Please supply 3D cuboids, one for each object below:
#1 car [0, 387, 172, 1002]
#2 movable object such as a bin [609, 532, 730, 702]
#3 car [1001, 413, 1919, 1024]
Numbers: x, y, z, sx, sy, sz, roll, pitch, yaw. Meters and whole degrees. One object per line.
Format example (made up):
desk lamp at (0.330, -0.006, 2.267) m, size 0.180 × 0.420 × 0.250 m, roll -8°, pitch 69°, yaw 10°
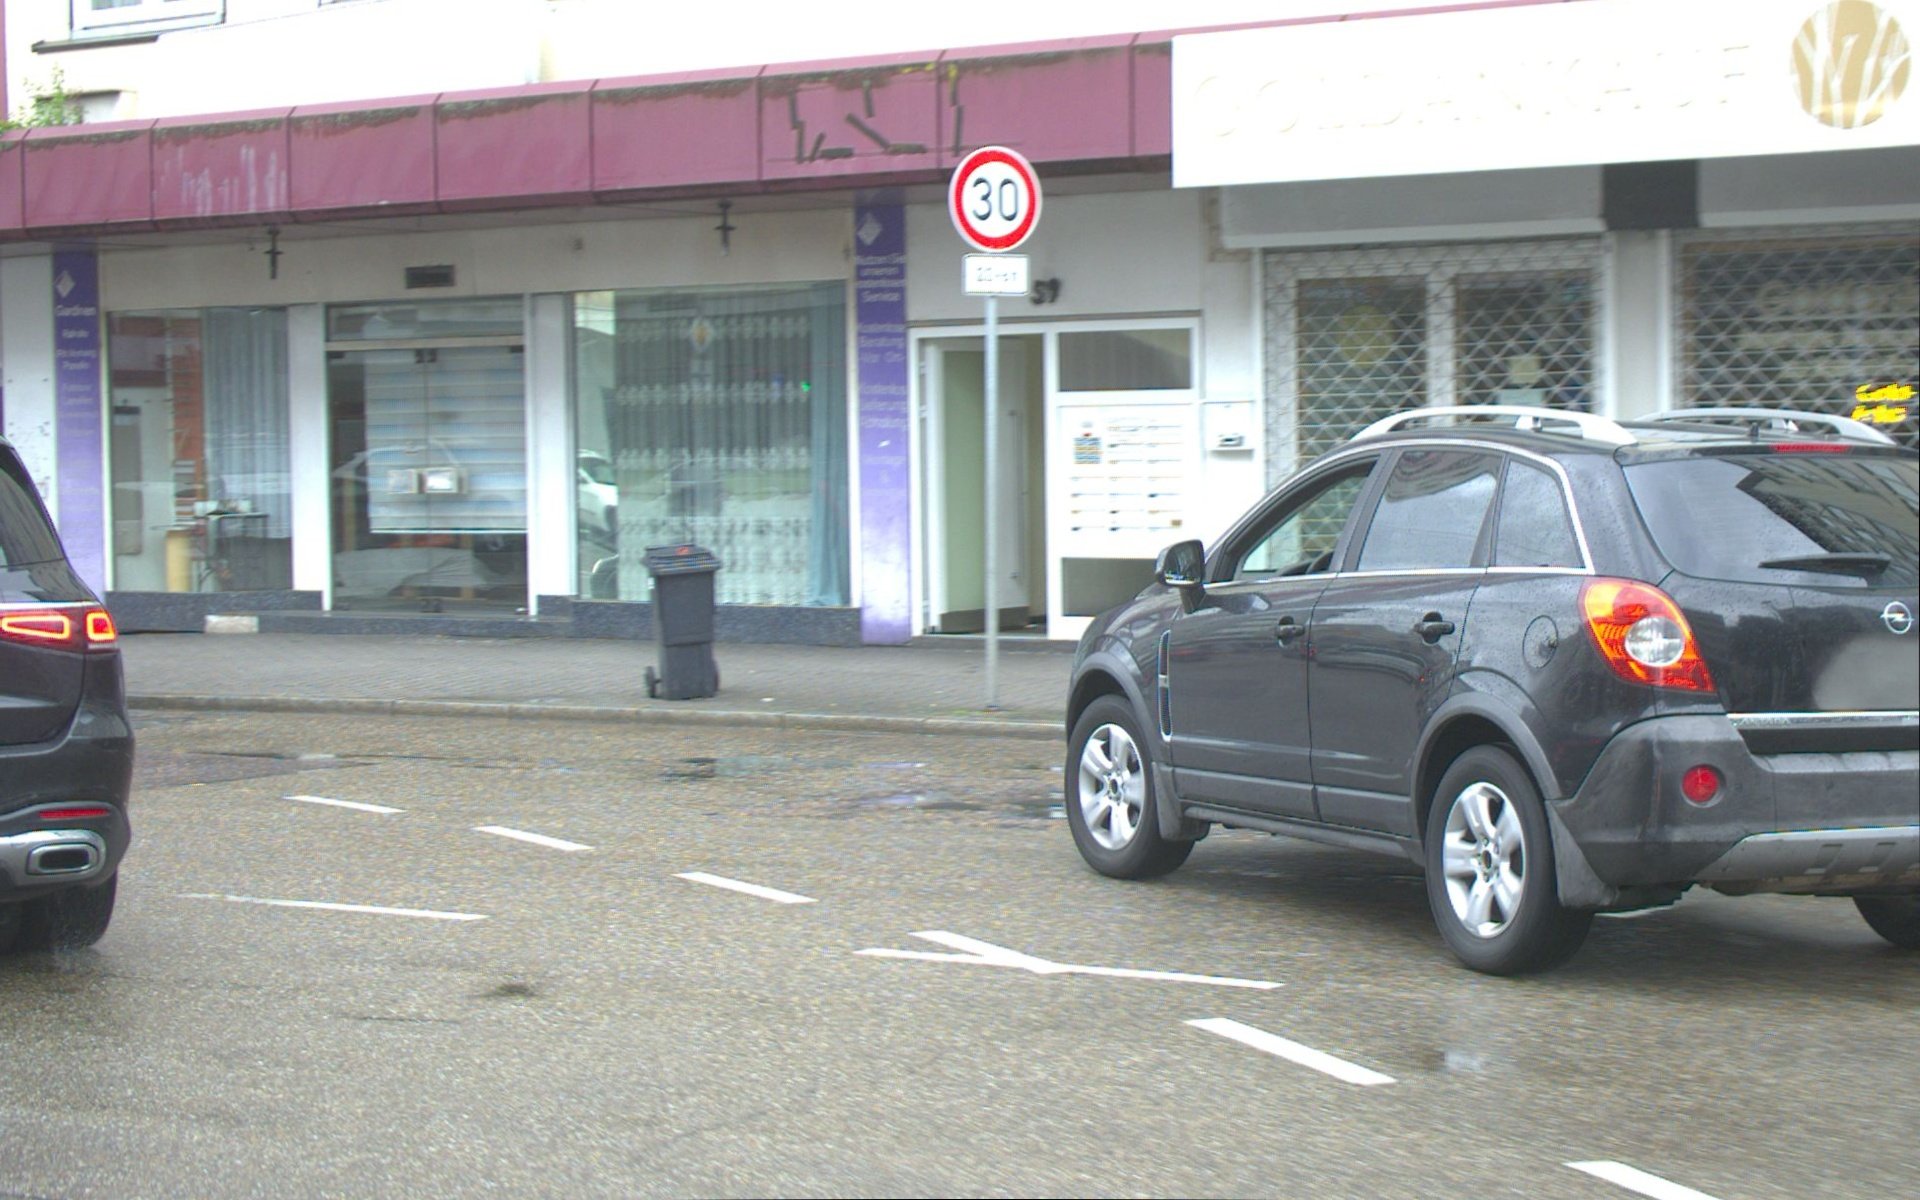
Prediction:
car at (-4.390, 0.221, 11.795) m, size 2.038 × 1.792 × 4.663 m, roll -2°, pitch 3°, yaw -29°
movable object such as a bin at (-1.804, 0.098, 21.334) m, size 0.536 × 0.947 × 0.620 m, roll -7°, pitch 7°, yaw -17°
car at (1.881, 0.239, 11.942) m, size 1.897 × 1.689 × 4.507 m, roll -1°, pitch 2°, yaw -22°
